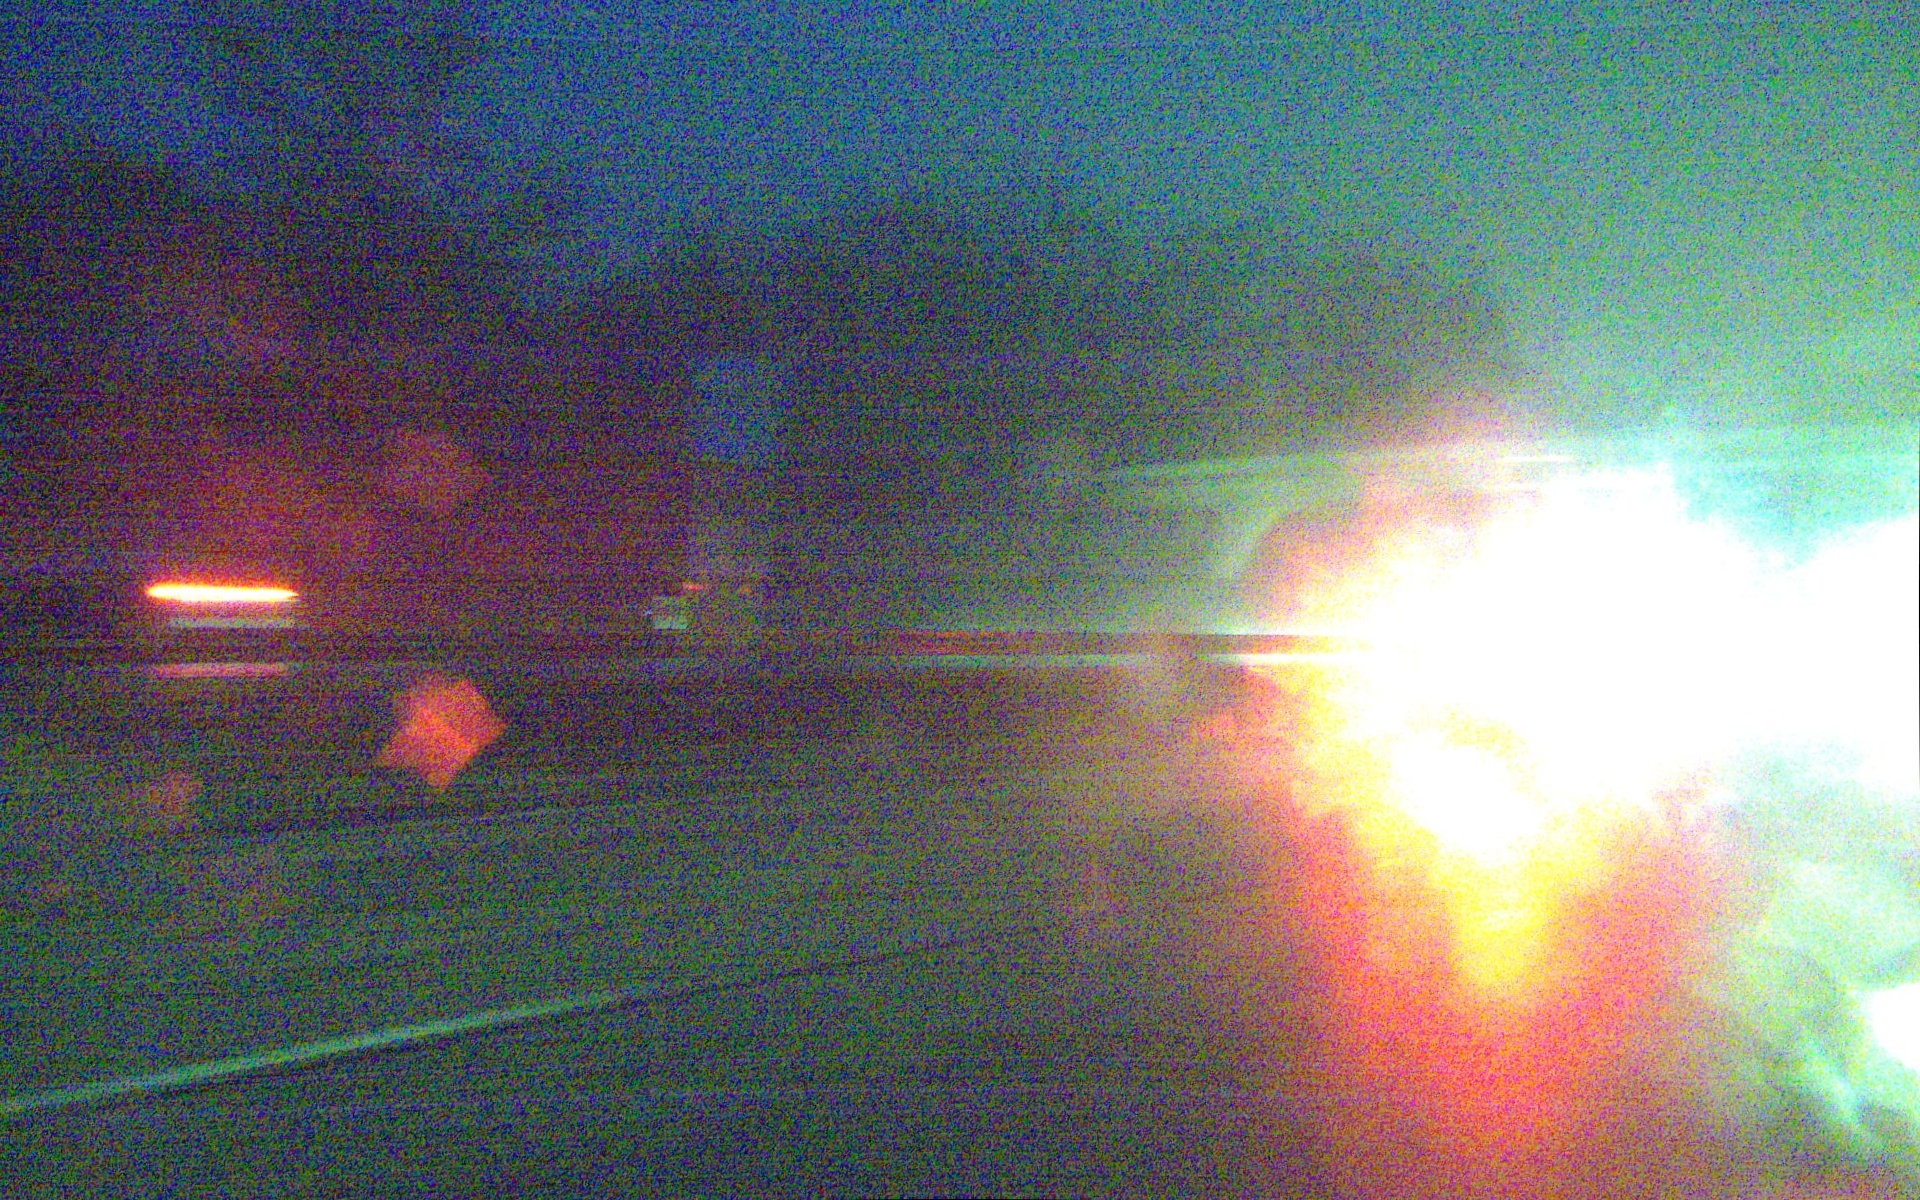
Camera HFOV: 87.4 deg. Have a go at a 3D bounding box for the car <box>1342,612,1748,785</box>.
[{"bbox_3d":[6.636,0.985,11.225,4.858,1.537,1.759,2,0,-31],"label":"car"}]

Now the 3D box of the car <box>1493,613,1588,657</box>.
[{"bbox_3d":[25.339,1.537,43.818,3.958,1.751,1.982,3,0,-33],"label":"car"}]

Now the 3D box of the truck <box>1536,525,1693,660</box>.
[{"bbox_3d":[23.504,-0.185,35.994,5.793,4.462,2.547,3,1,-35],"label":"truck"}]

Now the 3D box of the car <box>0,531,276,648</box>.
[{"bbox_3d":[-13.577,-0.152,16.005,4.287,1.669,1.831,3,0,-33],"label":"car"}]

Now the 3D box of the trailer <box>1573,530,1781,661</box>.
[{"bbox_3d":[28.440,0.028,39.473,12.369,4.516,2.558,3,1,-35],"label":"trailer"}]
